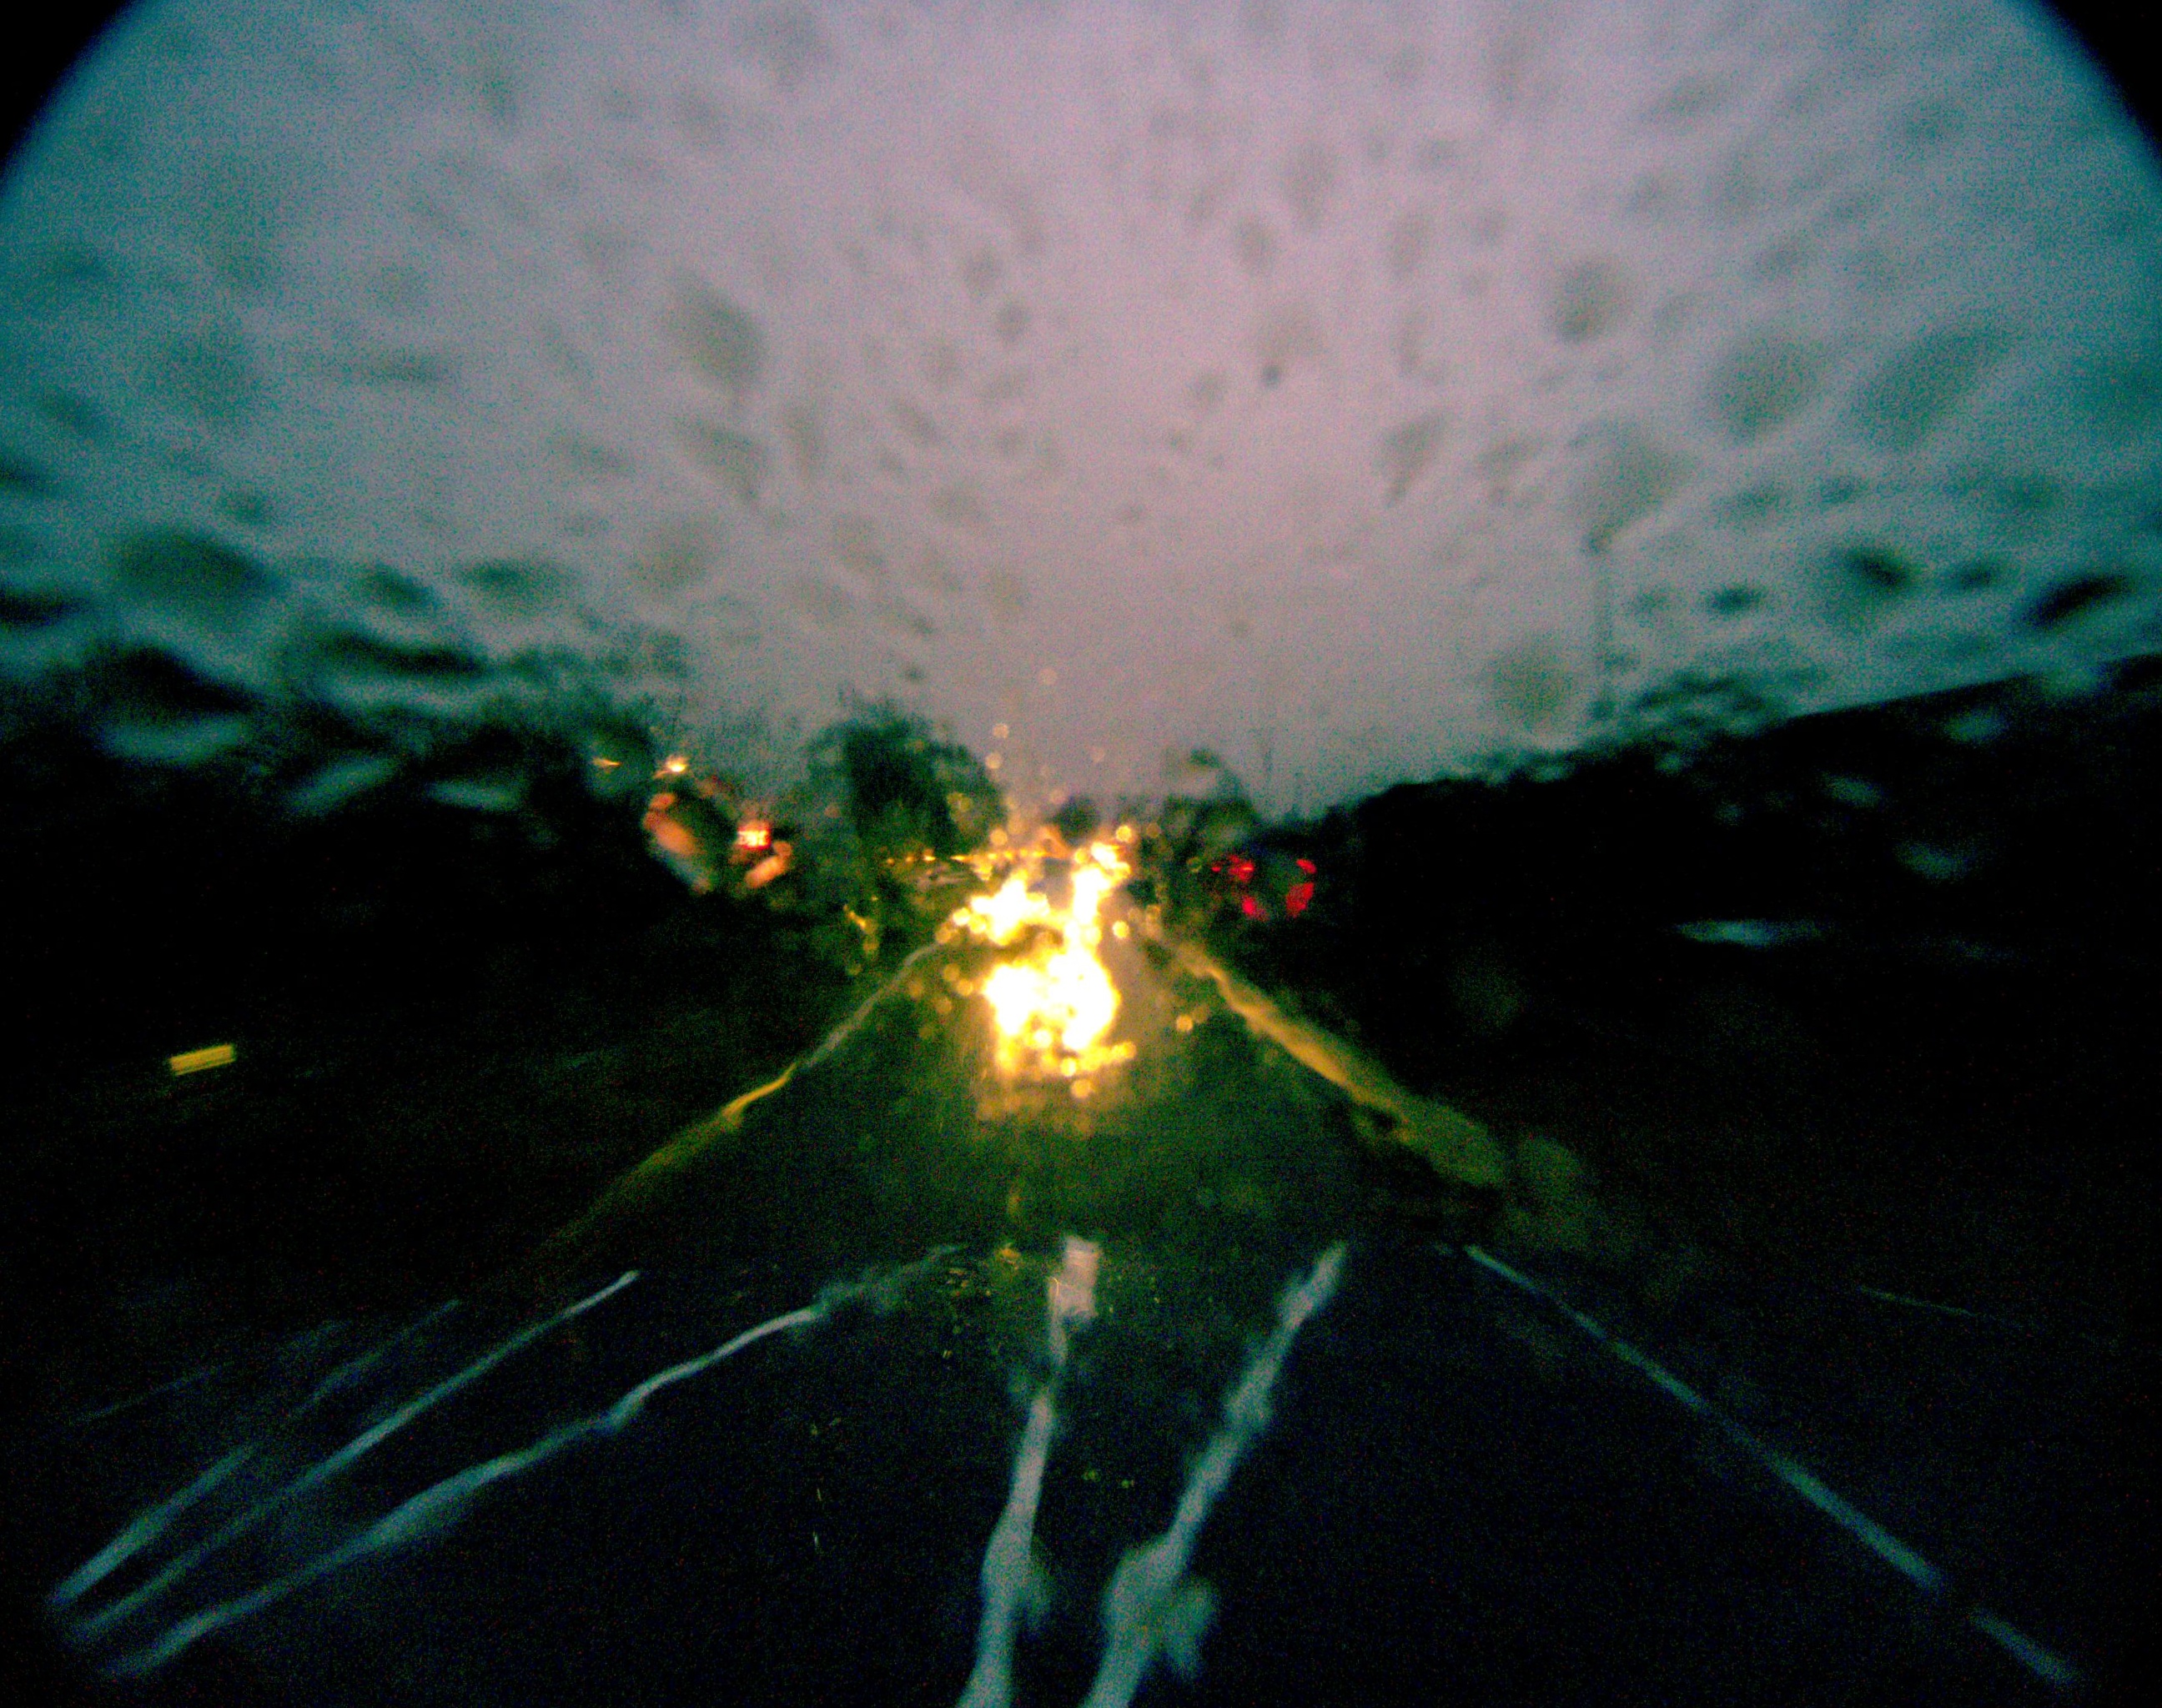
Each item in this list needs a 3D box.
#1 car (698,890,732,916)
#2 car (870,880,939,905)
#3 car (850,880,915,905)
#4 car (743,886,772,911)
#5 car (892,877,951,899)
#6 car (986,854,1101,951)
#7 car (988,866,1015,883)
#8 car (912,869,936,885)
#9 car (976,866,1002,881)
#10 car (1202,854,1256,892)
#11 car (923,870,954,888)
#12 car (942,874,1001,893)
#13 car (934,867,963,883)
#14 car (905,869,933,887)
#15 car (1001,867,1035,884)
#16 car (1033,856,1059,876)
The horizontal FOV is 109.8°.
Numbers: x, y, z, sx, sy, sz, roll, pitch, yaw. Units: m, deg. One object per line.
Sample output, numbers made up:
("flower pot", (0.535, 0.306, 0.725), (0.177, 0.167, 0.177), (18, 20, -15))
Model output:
("car", (-24.090, 3.183, 50.104), (1.570, 1.421, 3.755), (-2, 1, -19))
("car", (-12.733, 2.753, 54.830), (4.592, 1.447, 1.927), (-2, 2, -21))
("car", (-13.450, 2.602, 51.403), (4.004, 1.412, 1.628), (-2, 1, -24))
("car", (-22.793, 3.097, 53.628), (1.748, 1.417, 4.308), (-2, 1, -21))
("car", (-12.194, 2.559, 58.115), (4.184, 1.389, 1.901), (-2, 1, -20))
("car", (-0.632, 0.803, 14.670), (1.810, 1.452, 4.245), (-4, 1, 0))
("car", (-9.832, 2.493, 93.572), (1.889, 1.946, 4.951), (-3, 0, -21))
("car", (-16.687, 2.387, 80.505), (1.729, 1.493, 4.018), (-2, 1, -23))
("car", (-10.438, 2.208, 85.682), (1.722, 1.508, 3.250), (-3, 1, -30))
("car", (6.305, 0.768, 32.701), (1.611, 1.461, 3.685), (-2, 0, 1))
("car", (-14.198, 2.472, 75.556), (1.829, 1.629, 4.461), (-2, -1, -27))
("car", (-9.305, 2.476, 64.710), (4.708, 1.389, 1.901), (-2, 1, -17))
("car", (-14.724, 2.340, 84.461), (1.804, 1.586, 3.970), (-2, 1, -32))
("car", (-15.397, 2.286, 72.173), (1.807, 1.526, 4.535), (-2, 1, -22))
("car", (-6.102, 2.106, 73.689), (1.769, 1.421, 3.816), (-1, 1, 22))
("car", (-4.582, 1.483, 98.490), (2.282, 2.426, 5.232), (-1, 1, -15))
